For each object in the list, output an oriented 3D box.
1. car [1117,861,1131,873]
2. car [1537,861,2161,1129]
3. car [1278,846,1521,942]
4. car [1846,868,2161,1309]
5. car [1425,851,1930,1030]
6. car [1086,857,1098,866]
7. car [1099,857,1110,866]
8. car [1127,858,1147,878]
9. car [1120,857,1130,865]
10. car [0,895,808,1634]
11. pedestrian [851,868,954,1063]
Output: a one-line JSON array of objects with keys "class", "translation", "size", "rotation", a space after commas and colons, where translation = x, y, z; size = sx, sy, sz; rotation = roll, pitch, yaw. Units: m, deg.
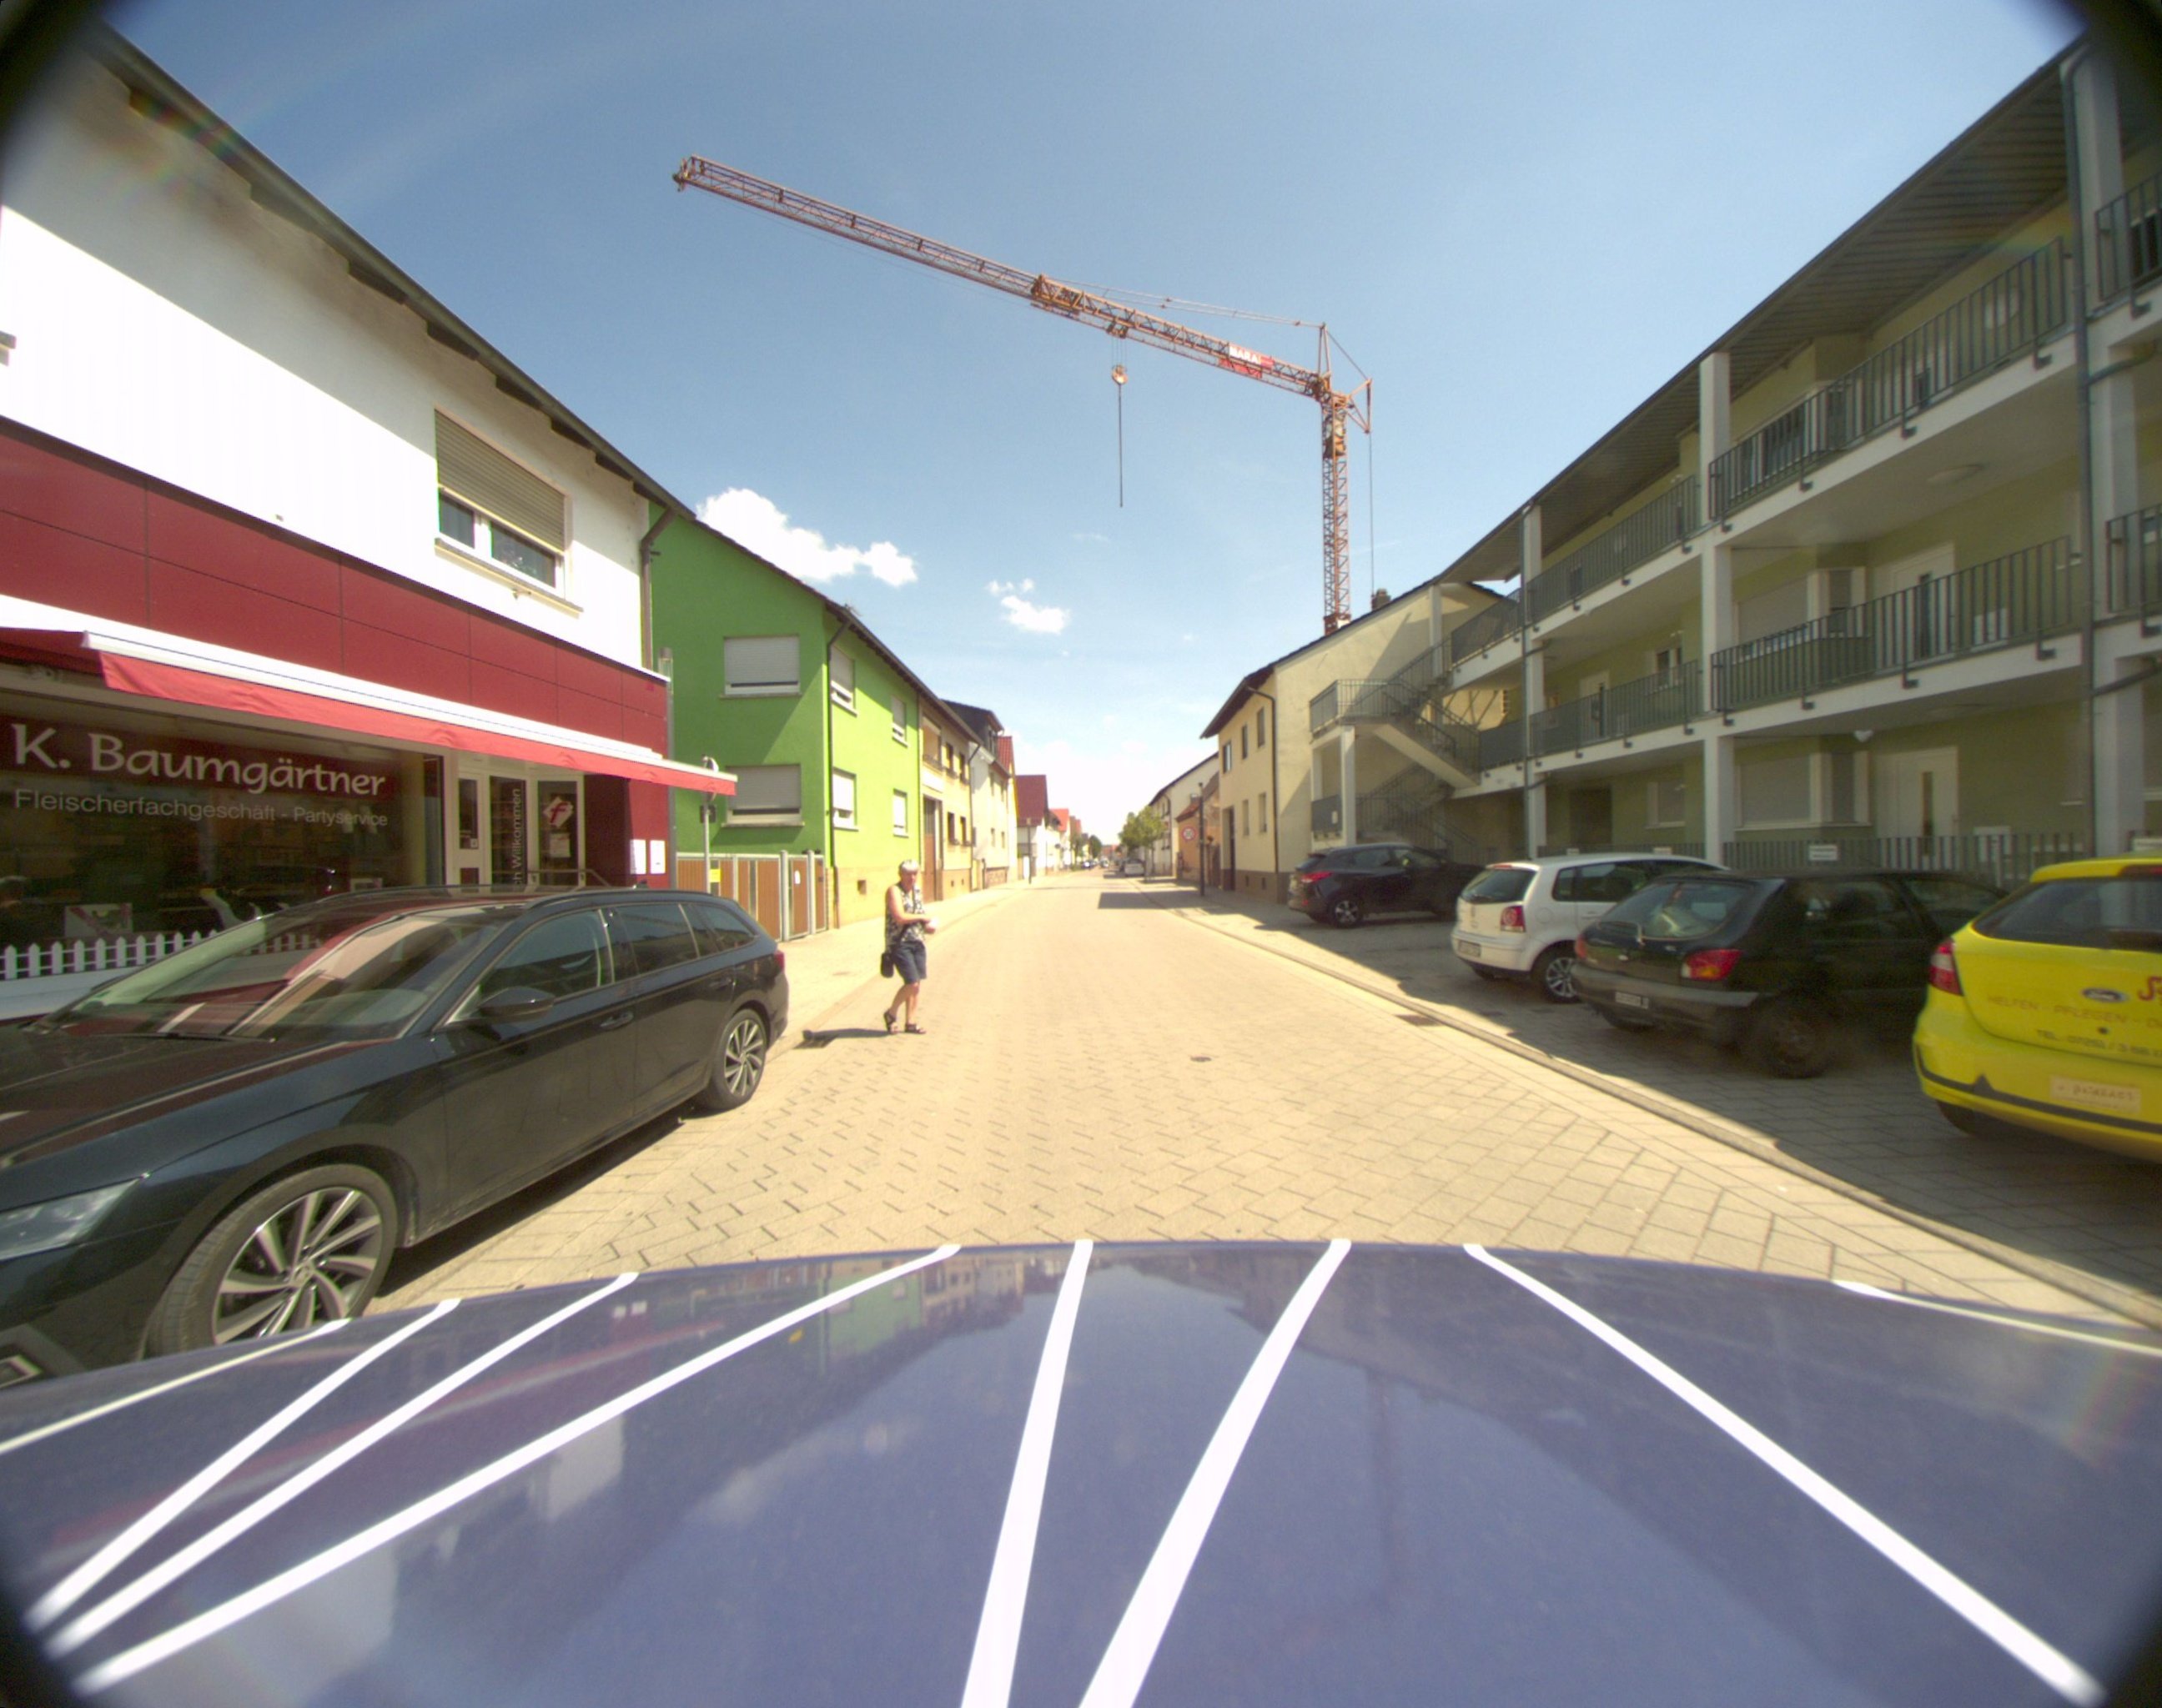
[{"class": "car", "translation": [5.782, 1.758, 102.572], "size": [1.752, 1.557, 3.955], "rotation": [-1, 0, 1]}, {"class": "car", "translation": [5.942, 0.912, 5.654], "size": [3.997, 1.433, 1.691], "rotation": [-4, 0, 1]}, {"class": "car", "translation": [6.444, 0.789, 15.760], "size": [4.229, 1.648, 1.785], "rotation": [-3, 0, 2]}, {"class": "car", "translation": [5.777, 0.811, 3.057], "size": [3.702, 1.516, 1.672], "rotation": [-3, 0, -1]}, {"class": "car", "translation": [6.085, 0.843, 8.160], "size": [3.910, 1.493, 1.751], "rotation": [-4, 0, 3]}, {"class": "car", "translation": [1.686, 1.169, 119.436], "size": [1.726, 1.420, 3.819], "rotation": [-1, 0, 3]}, {"class": "car", "translation": [4.152, 1.368, 134.208], "size": [1.957, 1.521, 4.001], "rotation": [-1, 0, 3]}, {"class": "car", "translation": [4.724, 1.140, 64.228], "size": [1.576, 1.552, 2.823], "rotation": [-3, 0, 4]}, {"class": "car", "translation": [9.170, 1.492, 158.645], "size": [1.851, 1.688, 4.001], "rotation": [-1, 0, 3]}, {"class": "car", "translation": [-3.229, 1.054, 3.590], "size": [1.862, 1.450, 4.588], "rotation": [1, 0, 5]}, {"class": "pedestrian", "translation": [-1.641, 0.956, 6.937], "size": [0.749, 1.630, 0.731], "rotation": [-3, 0, -21]}]
